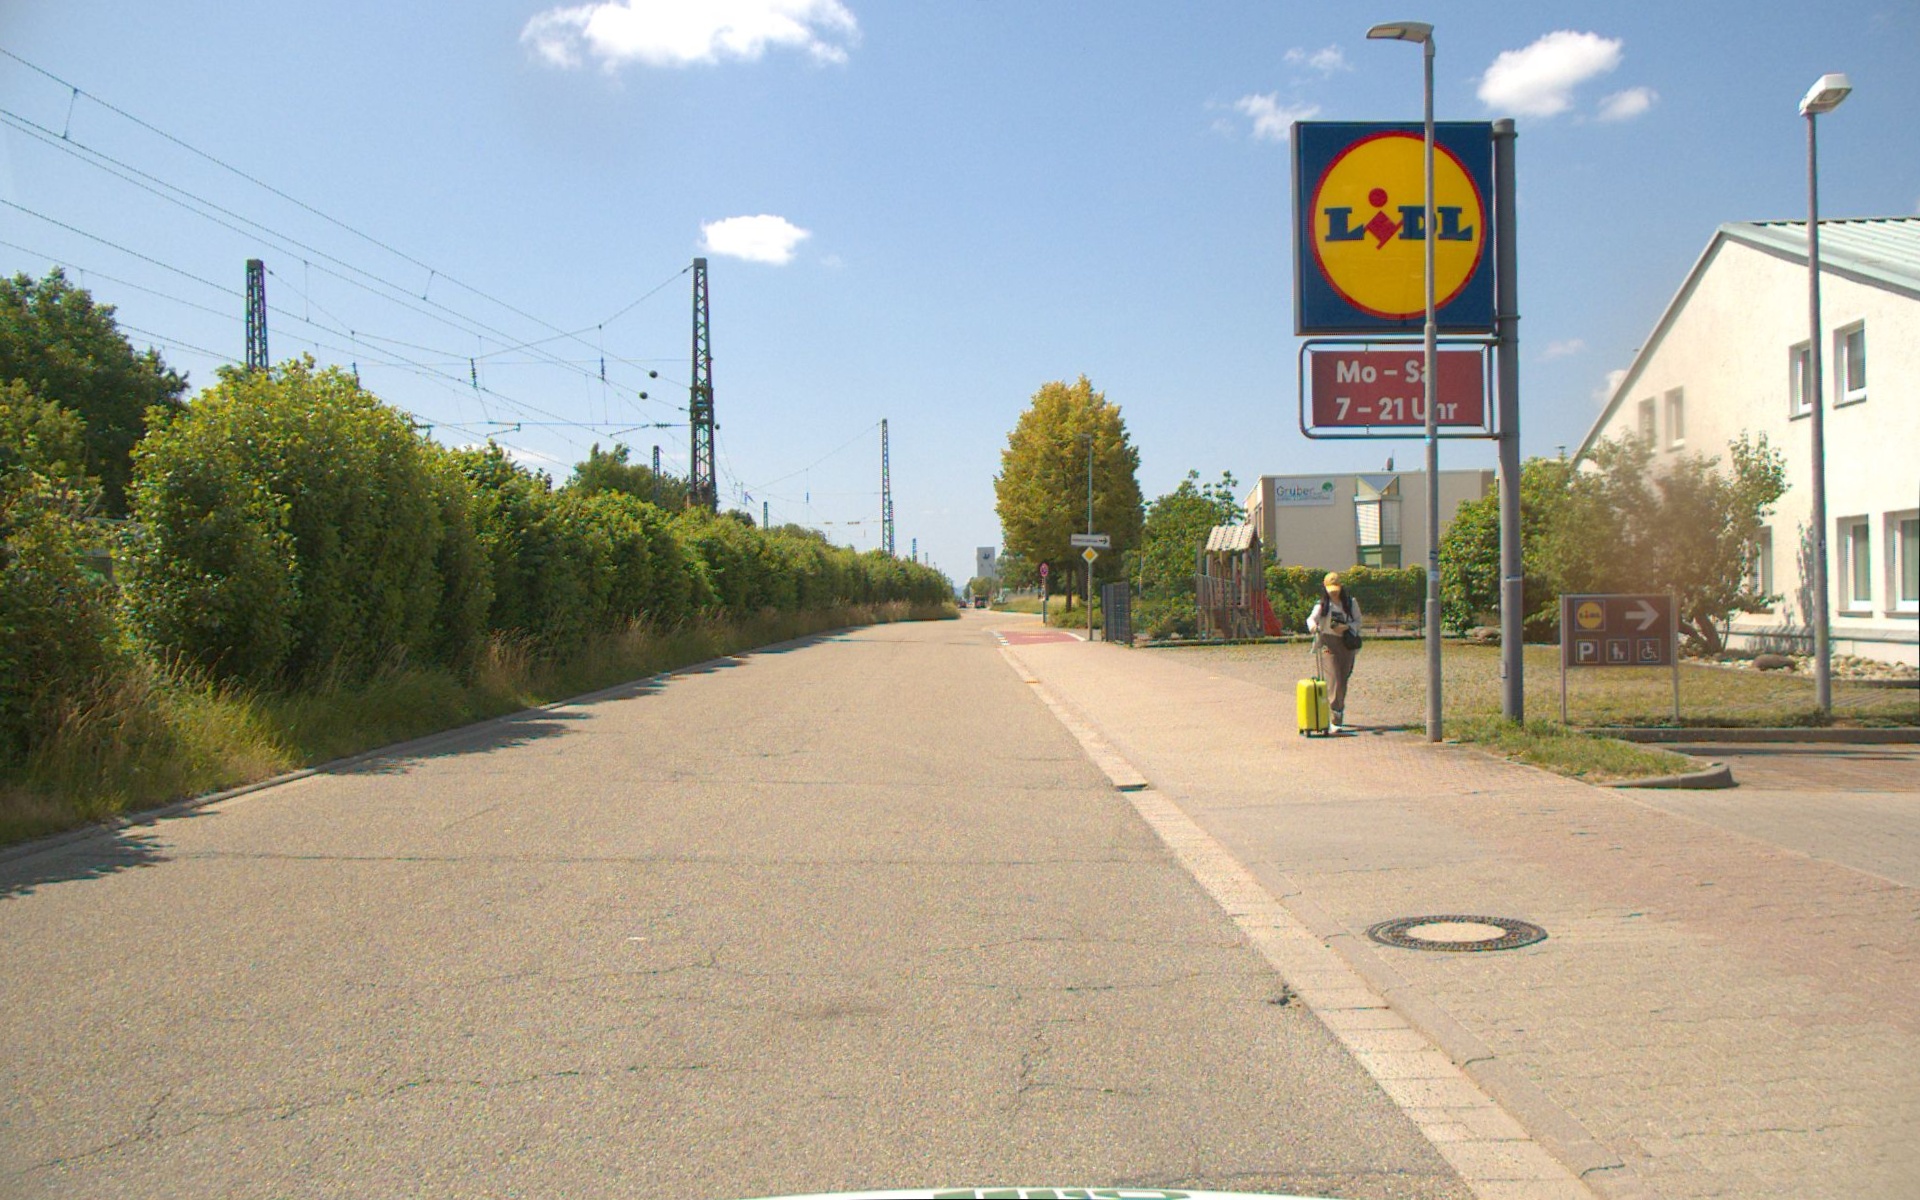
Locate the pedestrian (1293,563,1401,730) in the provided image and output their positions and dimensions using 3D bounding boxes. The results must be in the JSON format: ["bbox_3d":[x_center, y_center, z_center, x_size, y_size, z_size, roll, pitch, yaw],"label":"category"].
[{"bbox_3d":[3.919,0.452,16.835,0.746,1.630,1.209,-1,0,-3],"label":"pedestrian"}]

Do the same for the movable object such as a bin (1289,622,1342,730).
[{"bbox_3d":[3.531,0.747,16.455,0.367,1.048,0.498,-1,0,-4],"label":"movable object such as a bin"}]
